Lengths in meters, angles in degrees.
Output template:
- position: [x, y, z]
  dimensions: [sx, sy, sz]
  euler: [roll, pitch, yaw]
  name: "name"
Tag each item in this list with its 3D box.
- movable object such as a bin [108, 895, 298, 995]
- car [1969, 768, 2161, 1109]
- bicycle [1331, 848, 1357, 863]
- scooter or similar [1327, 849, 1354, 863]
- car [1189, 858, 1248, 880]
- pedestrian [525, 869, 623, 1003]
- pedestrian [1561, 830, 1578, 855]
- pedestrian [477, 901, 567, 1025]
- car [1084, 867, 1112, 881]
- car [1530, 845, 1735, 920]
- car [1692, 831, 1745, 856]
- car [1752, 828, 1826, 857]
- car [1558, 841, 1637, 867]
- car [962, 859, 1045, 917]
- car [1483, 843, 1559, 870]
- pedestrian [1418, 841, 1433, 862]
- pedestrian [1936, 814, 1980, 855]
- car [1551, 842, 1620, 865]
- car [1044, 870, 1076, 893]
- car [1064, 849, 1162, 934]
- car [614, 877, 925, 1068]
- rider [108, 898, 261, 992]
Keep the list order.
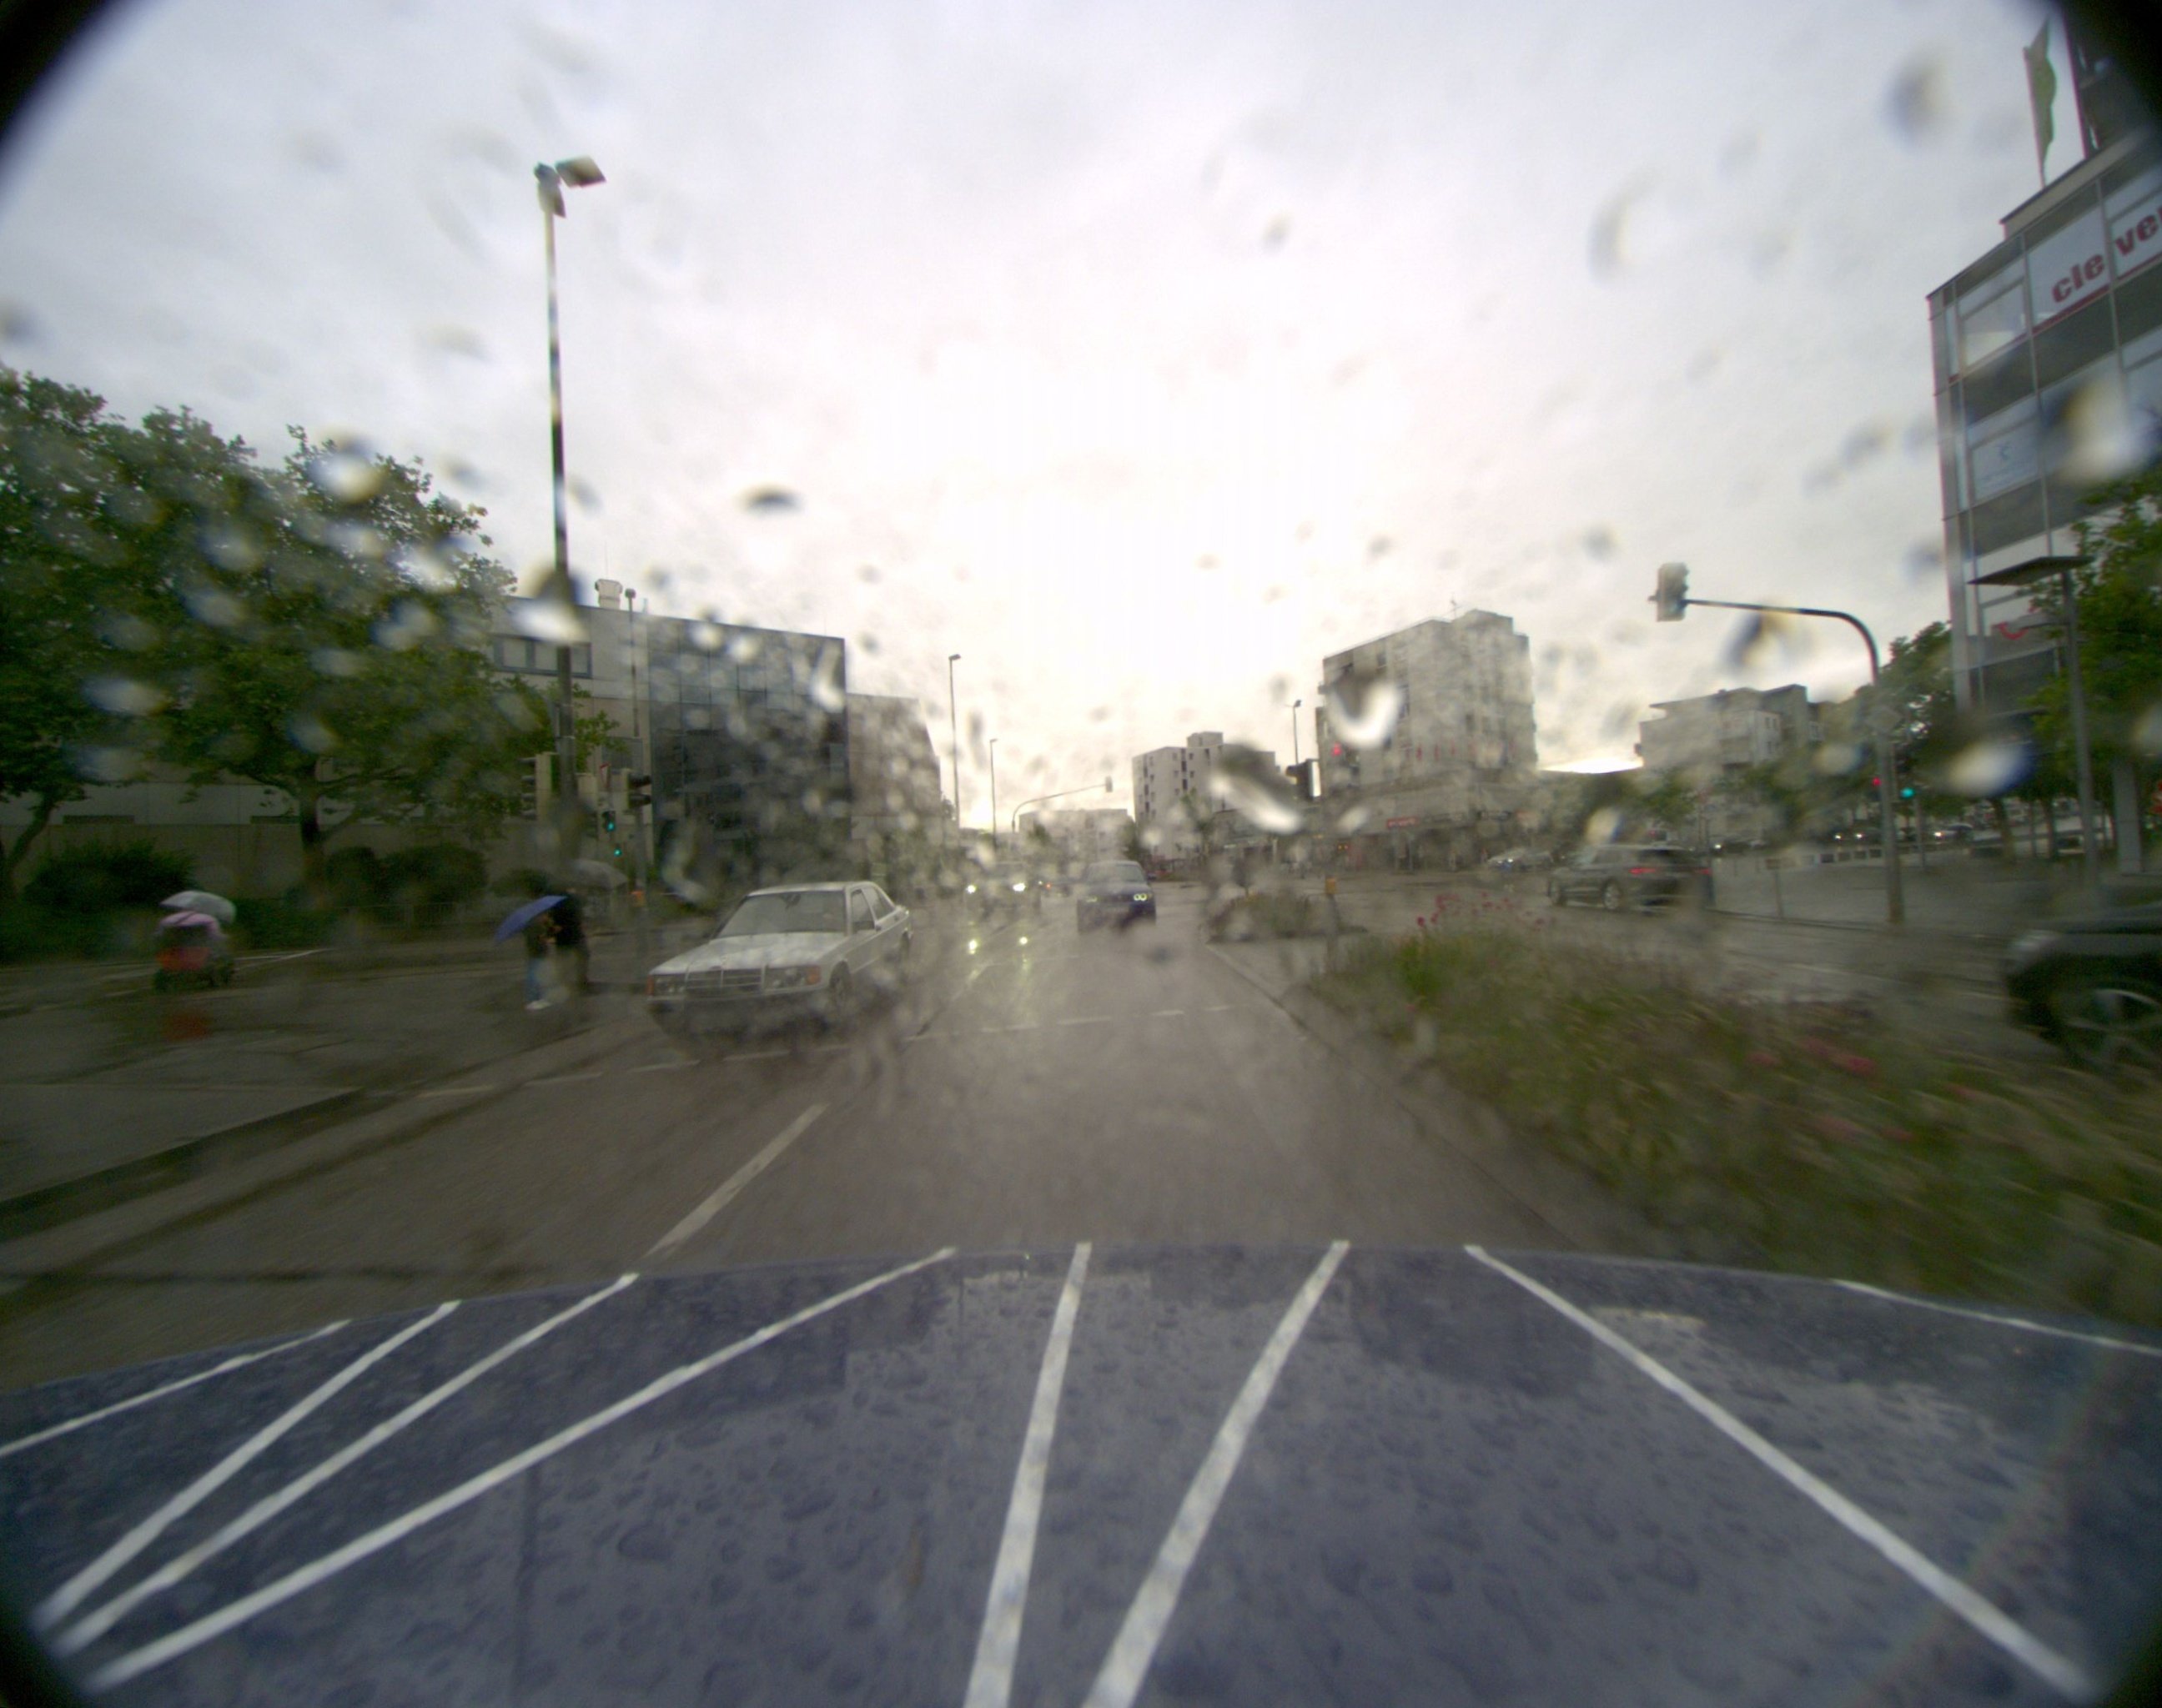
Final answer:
- position: [-13.002, 1.311, 11.328]
  dimensions: [1.132, 1.324, 1.455]
  euler: [0, 0, 1]
  name: "movable object such as a bin"
- position: [6.728, 0.427, 2.751]
  dimensions: [1.998, 1.813, 4.298]
  euler: [-1, 0, 0]
  name: "car"
- position: [25.280, 0.147, 72.986]
  dimensions: [2.556, 1.215, 0.695]
  euler: [-3, -1, -24]
  name: "bicycle"
- position: [24.103, 0.164, 70.605]
  dimensions: [2.596, 1.167, 0.642]
  euler: [-3, -1, -25]
  name: "scooter or similar"
- position: [10.375, 1.137, 57.769]
  dimensions: [1.929, 1.622, 4.893]
  euler: [0, -1, -25]
  name: "car"
- position: [-6.324, 1.002, 9.505]
  dimensions: [0.709, 1.598, 0.656]
  euler: [-2, 0, 5]
  name: "pedestrian"
- position: [38.035, -0.883, 59.147]
  dimensions: [0.720, 1.882, 0.808]
  euler: [-2, -1, -10]
  name: "pedestrian"
- position: [-6.569, 1.250, 8.961]
  dimensions: [0.711, 1.337, 0.654]
  euler: [-2, 0, -26]
  name: "pedestrian"
- position: [2.261, 2.765, 103.110]
  dimensions: [1.894, 1.672, 4.498]
  euler: [-3, -1, -26]
  name: "car"
- position: [13.285, 0.626, 18.731]
  dimensions: [1.880, 1.584, 4.525]
  euler: [1, 0, 3]
  name: "car"
- position: [47.210, -0.797, 56.271]
  dimensions: [4.006, 1.585, 1.713]
  euler: [-3, -1, -31]
  name: "car"
- position: [45.138, -0.740, 48.457]
  dimensions: [4.004, 1.585, 1.867]
  euler: [-3, -1, -22]
  name: "car"
- position: [32.157, -0.013, 47.320]
  dimensions: [4.061, 1.411, 1.771]
  euler: [-2, -1, -15]
  name: "car"
- position: [-2.400, 1.053, 24.693]
  dimensions: [1.905, 1.611, 4.337]
  euler: [-4, -1, 4]
  name: "car"
- position: [27.900, 0.143, 48.176]
  dimensions: [4.209, 1.586, 1.867]
  euler: [-1, 0, -19]
  name: "car"
- position: [29.680, -0.210, 65.547]
  dimensions: [0.715, 1.680, 0.657]
  euler: [-5, -8, -9]
  name: "pedestrian"
- position: [44.711, -0.988, 38.738]
  dimensions: [1.330, 2.001, 1.163]
  euler: [-3, -1, -30]
  name: "pedestrian"
- position: [34.014, -0.031, 51.233]
  dimensions: [4.063, 1.411, 1.867]
  euler: [-2, -1, -21]
  name: "car"
- position: [-1.426, 1.771, 49.387]
  dimensions: [1.636, 1.377, 4.513]
  euler: [-4, -1, -6]
  name: "car"
- position: [0.820, 0.780, 16.650]
  dimensions: [1.675, 1.533, 3.916]
  euler: [-4, -2, 8]
  name: "car"
- position: [-3.108, 1.082, 8.633]
  dimensions: [1.638, 1.439, 4.269]
  euler: [-5, -1, 0]
  name: "car"
- position: [-13.147, 1.303, 11.186]
  dimensions: [0.924, 1.276, 1.091]
  euler: [0, -2, 1]
  name: "rider"
